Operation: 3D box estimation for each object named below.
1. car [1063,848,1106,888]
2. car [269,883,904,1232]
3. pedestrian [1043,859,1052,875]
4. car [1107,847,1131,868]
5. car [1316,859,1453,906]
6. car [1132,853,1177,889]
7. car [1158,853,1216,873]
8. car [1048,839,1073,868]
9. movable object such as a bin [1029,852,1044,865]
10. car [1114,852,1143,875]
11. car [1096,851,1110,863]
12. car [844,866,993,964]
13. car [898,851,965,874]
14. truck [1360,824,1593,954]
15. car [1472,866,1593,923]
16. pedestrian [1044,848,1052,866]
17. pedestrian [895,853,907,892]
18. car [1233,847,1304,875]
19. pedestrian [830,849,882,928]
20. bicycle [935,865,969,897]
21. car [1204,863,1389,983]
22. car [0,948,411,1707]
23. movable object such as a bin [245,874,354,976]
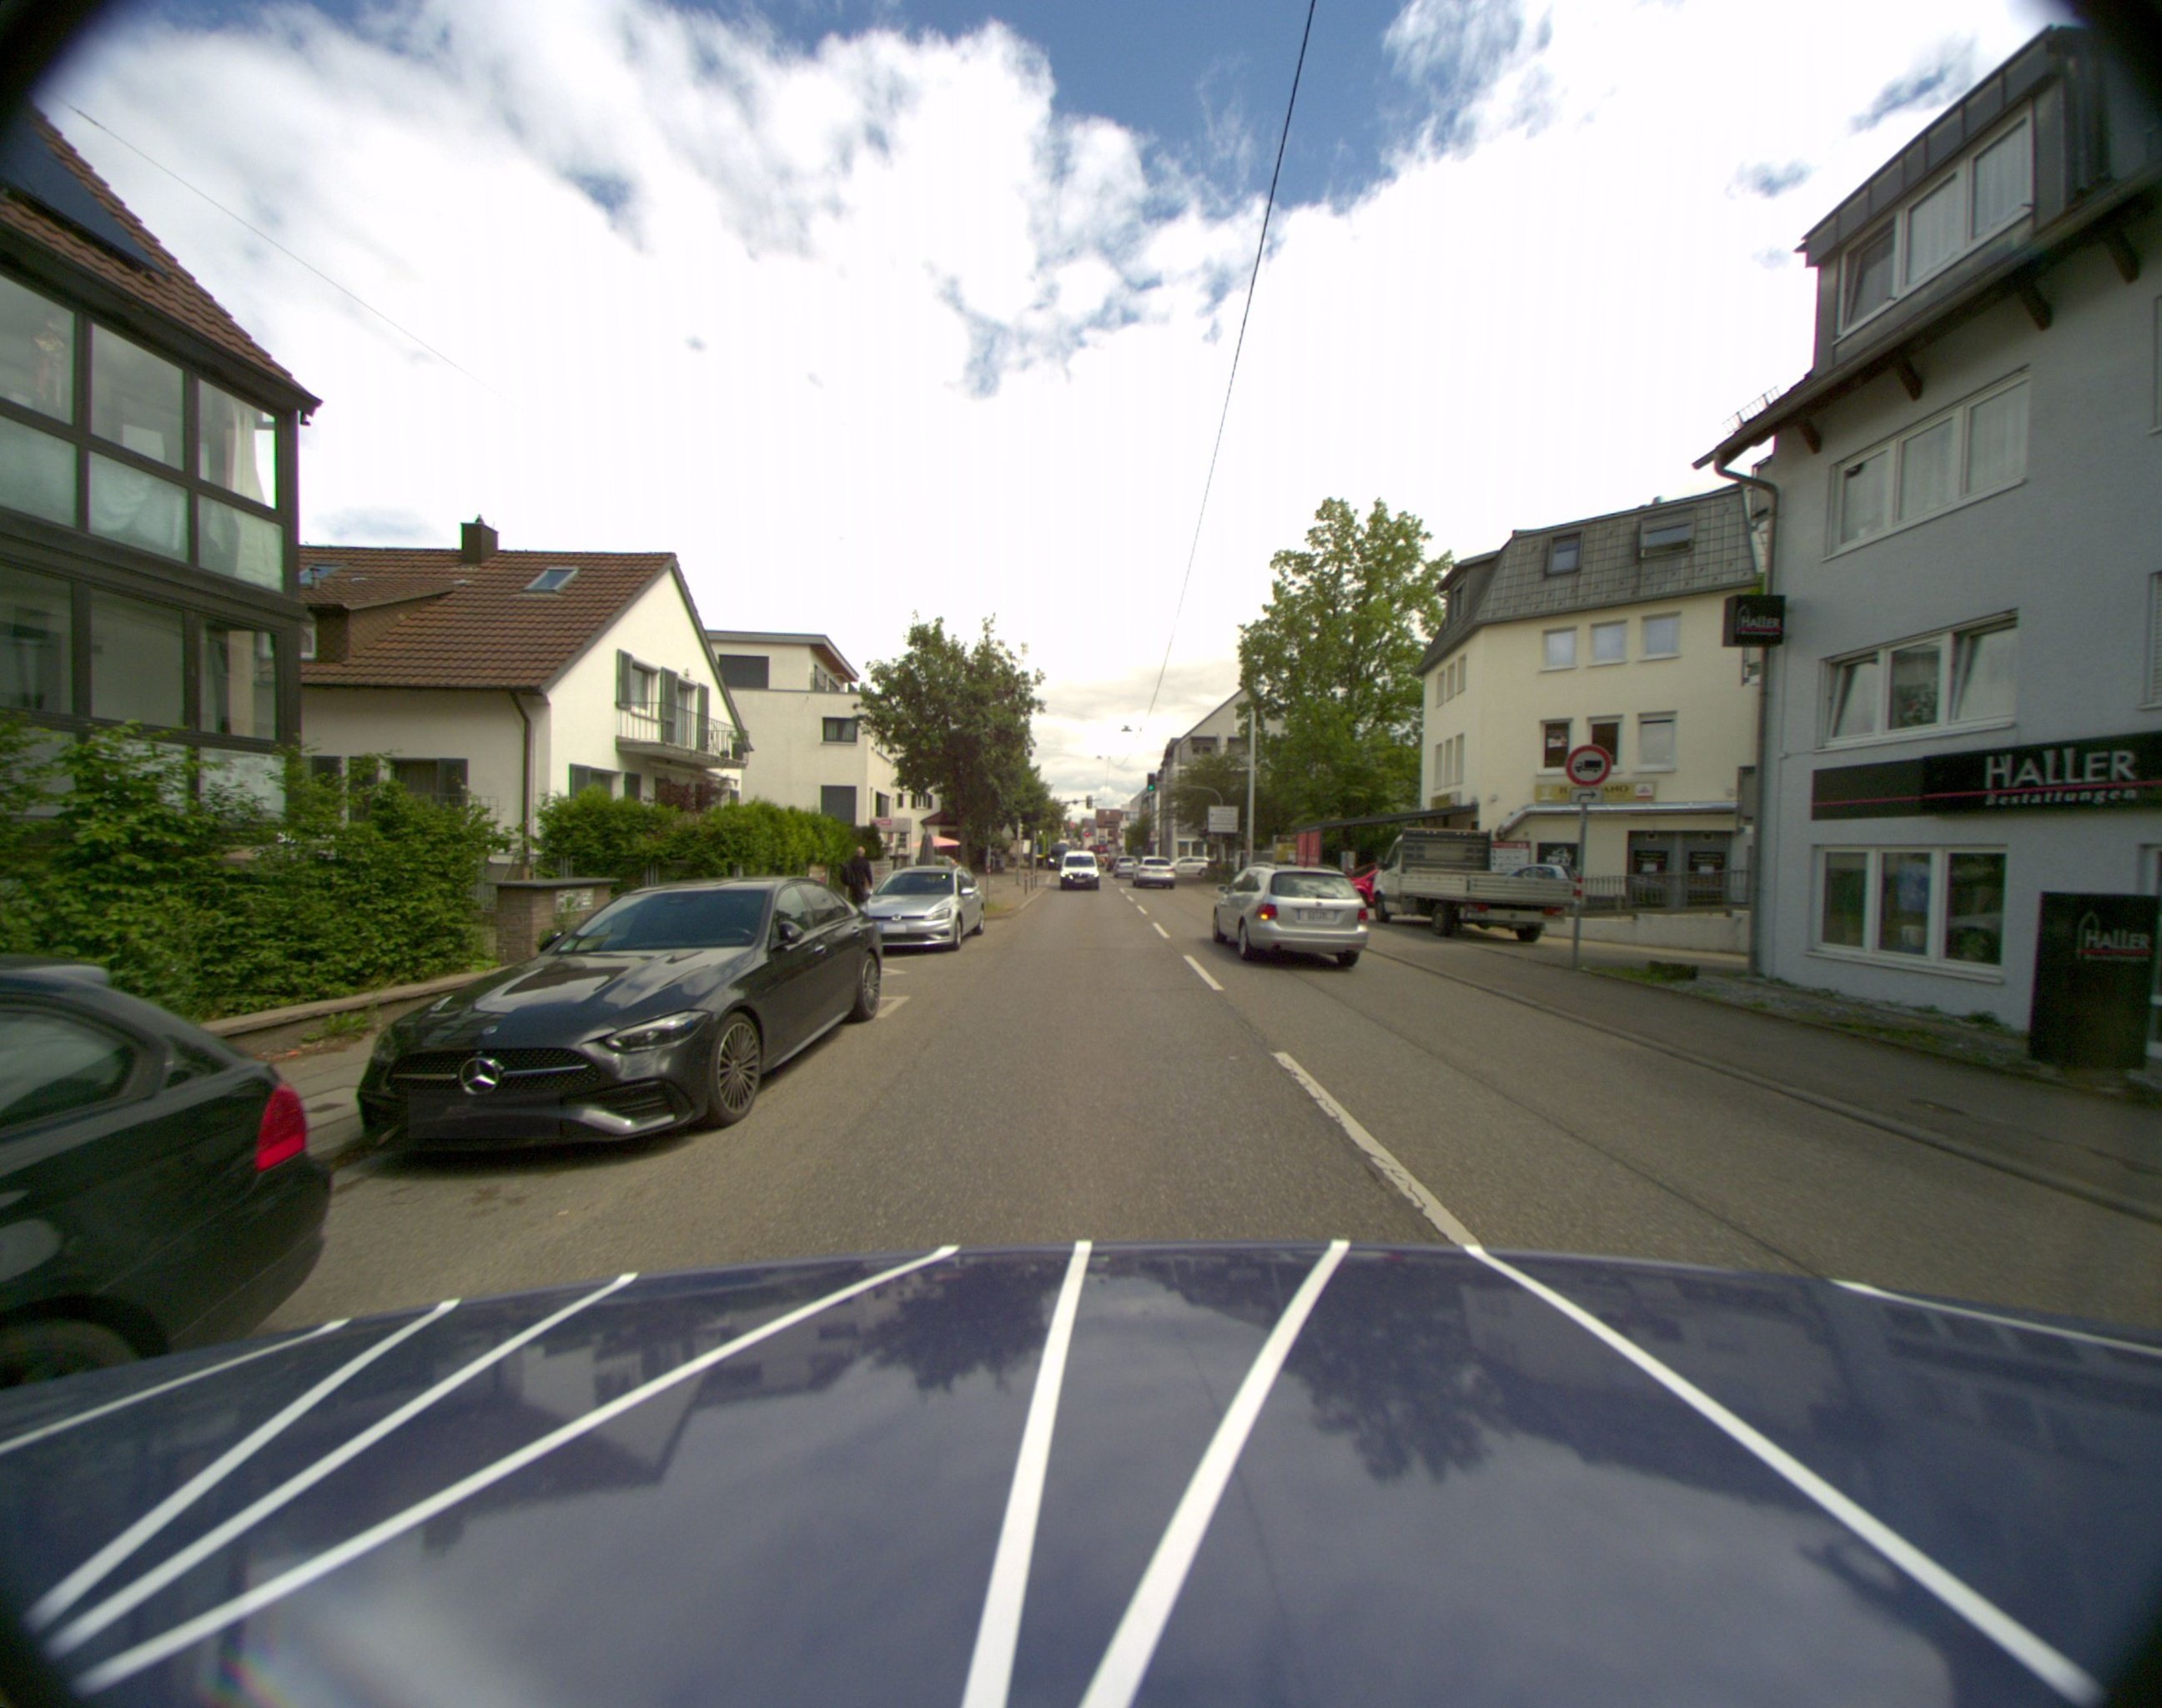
[{"bbox_3d":[0.144,0.608,36.569,1.871,1.805,5.006,1,0,0],"label":"car"},{"bbox_3d":[-2.899,1.058,6.023,1.738,1.420,4.883,-2,0,1],"label":"car"},{"bbox_3d":[-3.529,1.378,80.672,0.786,1.633,0.798,1,1,6],"label":"pedestrian"},{"bbox_3d":[3.541,0.282,71.650,1.882,1.901,4.750,0,0,-1],"label":"car"},{"bbox_3d":[9.768,0.897,24.613,3.703,1.417,1.804,0,0,-3],"label":"car"},{"bbox_3d":[3.627,0.804,37.961,1.810,1.562,4.159,3,0,1],"label":"car"},{"bbox_3d":[8.145,0.708,58.448,4.222,1.504,1.822,0,0,0],"label":"car"},{"bbox_3d":[-2.000,-0.065,76.173,2.153,2.754,6.249,1,0,2],"label":"car"},{"bbox_3d":[-4.629,0.462,78.946,1.188,1.258,1.206,1,1,-31],"label":"movable object such as a bin"},{"bbox_3d":[3.227,0.647,52.434,1.621,1.478,3.812,1,0,-2],"label":"car"},{"bbox_3d":[2.921,0.428,101.477,1.732,1.529,4.000,1,0,0],"label":"car"},{"bbox_3d":[-2.853,1.008,14.466,1.705,1.472,4.872,0,0,1],"label":"car"},{"bbox_3d":[-9.967,0.570,50.509,4.187,1.407,1.777,2,-1,-16],"label":"car"},{"bbox_3d":[8.400,0.594,17.103,2.229,2.366,6.326,1,1,4],"label":"truck"},{"bbox_3d":[13.322,1.141,22.460,2.839,1.462,1.569,2,2,39],"label":"car"},{"bbox_3d":[-3.409,0.306,79.317,0.742,1.772,0.899,1,1,2],"label":"pedestrian"},{"bbox_3d":[-8.147,0.835,34.345,0.429,1.752,0.674,0,2,-20],"label":"pedestrian"},{"bbox_3d":[13.582,0.491,55.158,4.633,1.997,2.095,0,1,-2],"label":"car"},{"bbox_3d":[-5.006,0.745,16.947,0.882,1.703,0.842,1,1,2],"label":"pedestrian"},{"bbox_3d":[-5.069,1.029,30.017,0.722,1.144,2.214,1,1,6],"label":"bicycle"},{"bbox_3d":[3.298,0.974,12.562,1.733,1.494,4.376,3,0,0],"label":"car"},{"bbox_3d":[-3.191,1.013,0.118,1.998,1.415,4.589,1,0,2],"label":"car"},{"bbox_3d":[-9.523,0.843,9.283,0.550,1.152,0.727,1,1,5],"label":"movable object such as a bin"}]
